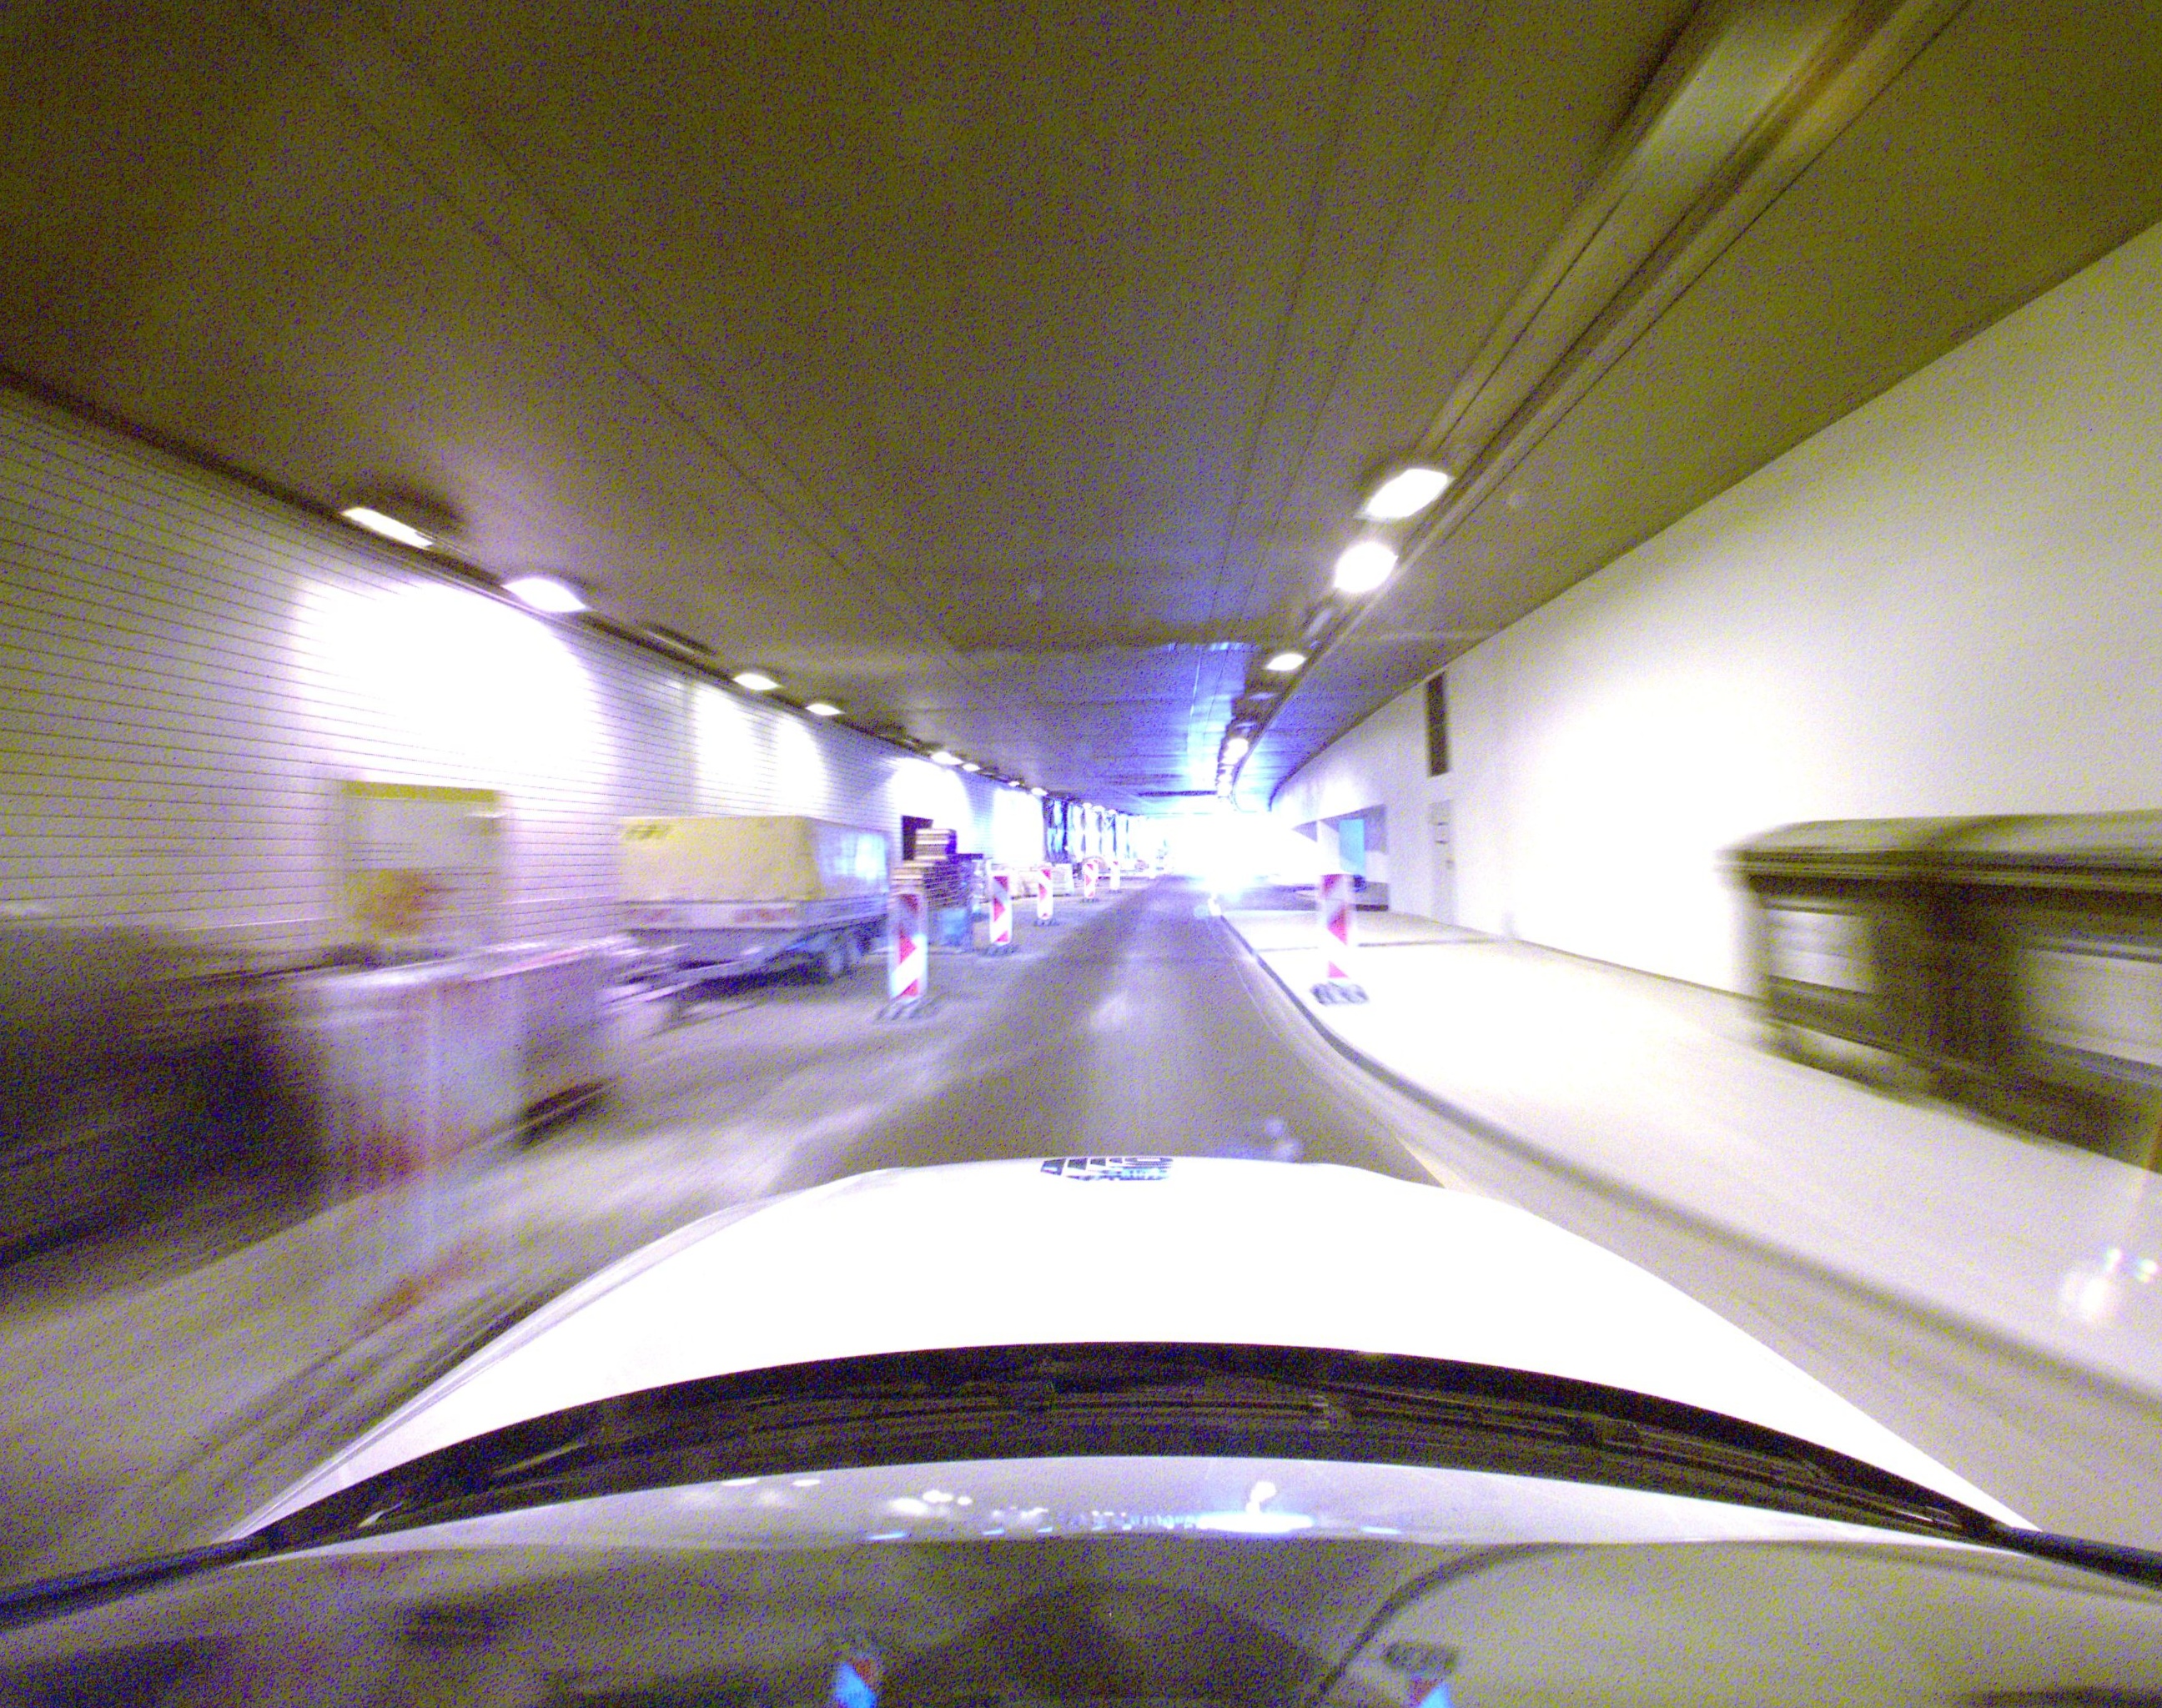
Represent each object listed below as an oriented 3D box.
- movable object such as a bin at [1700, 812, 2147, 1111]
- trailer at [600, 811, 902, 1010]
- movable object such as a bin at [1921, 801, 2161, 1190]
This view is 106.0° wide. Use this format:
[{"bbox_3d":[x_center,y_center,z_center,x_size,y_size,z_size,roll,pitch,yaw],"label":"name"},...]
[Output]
[{"bbox_3d":[4.618,0.531,4.654,1.140,1.445,1.365,-1,-1,3],"label":"movable object such as a bin"},{"bbox_3d":[-3.783,0.593,10.105,2.199,2.014,3.468,-1,-1,2],"label":"trailer"},{"bbox_3d":[4.568,0.521,3.236,1.093,1.445,1.323,-1,-1,3],"label":"movable object such as a bin"}]
